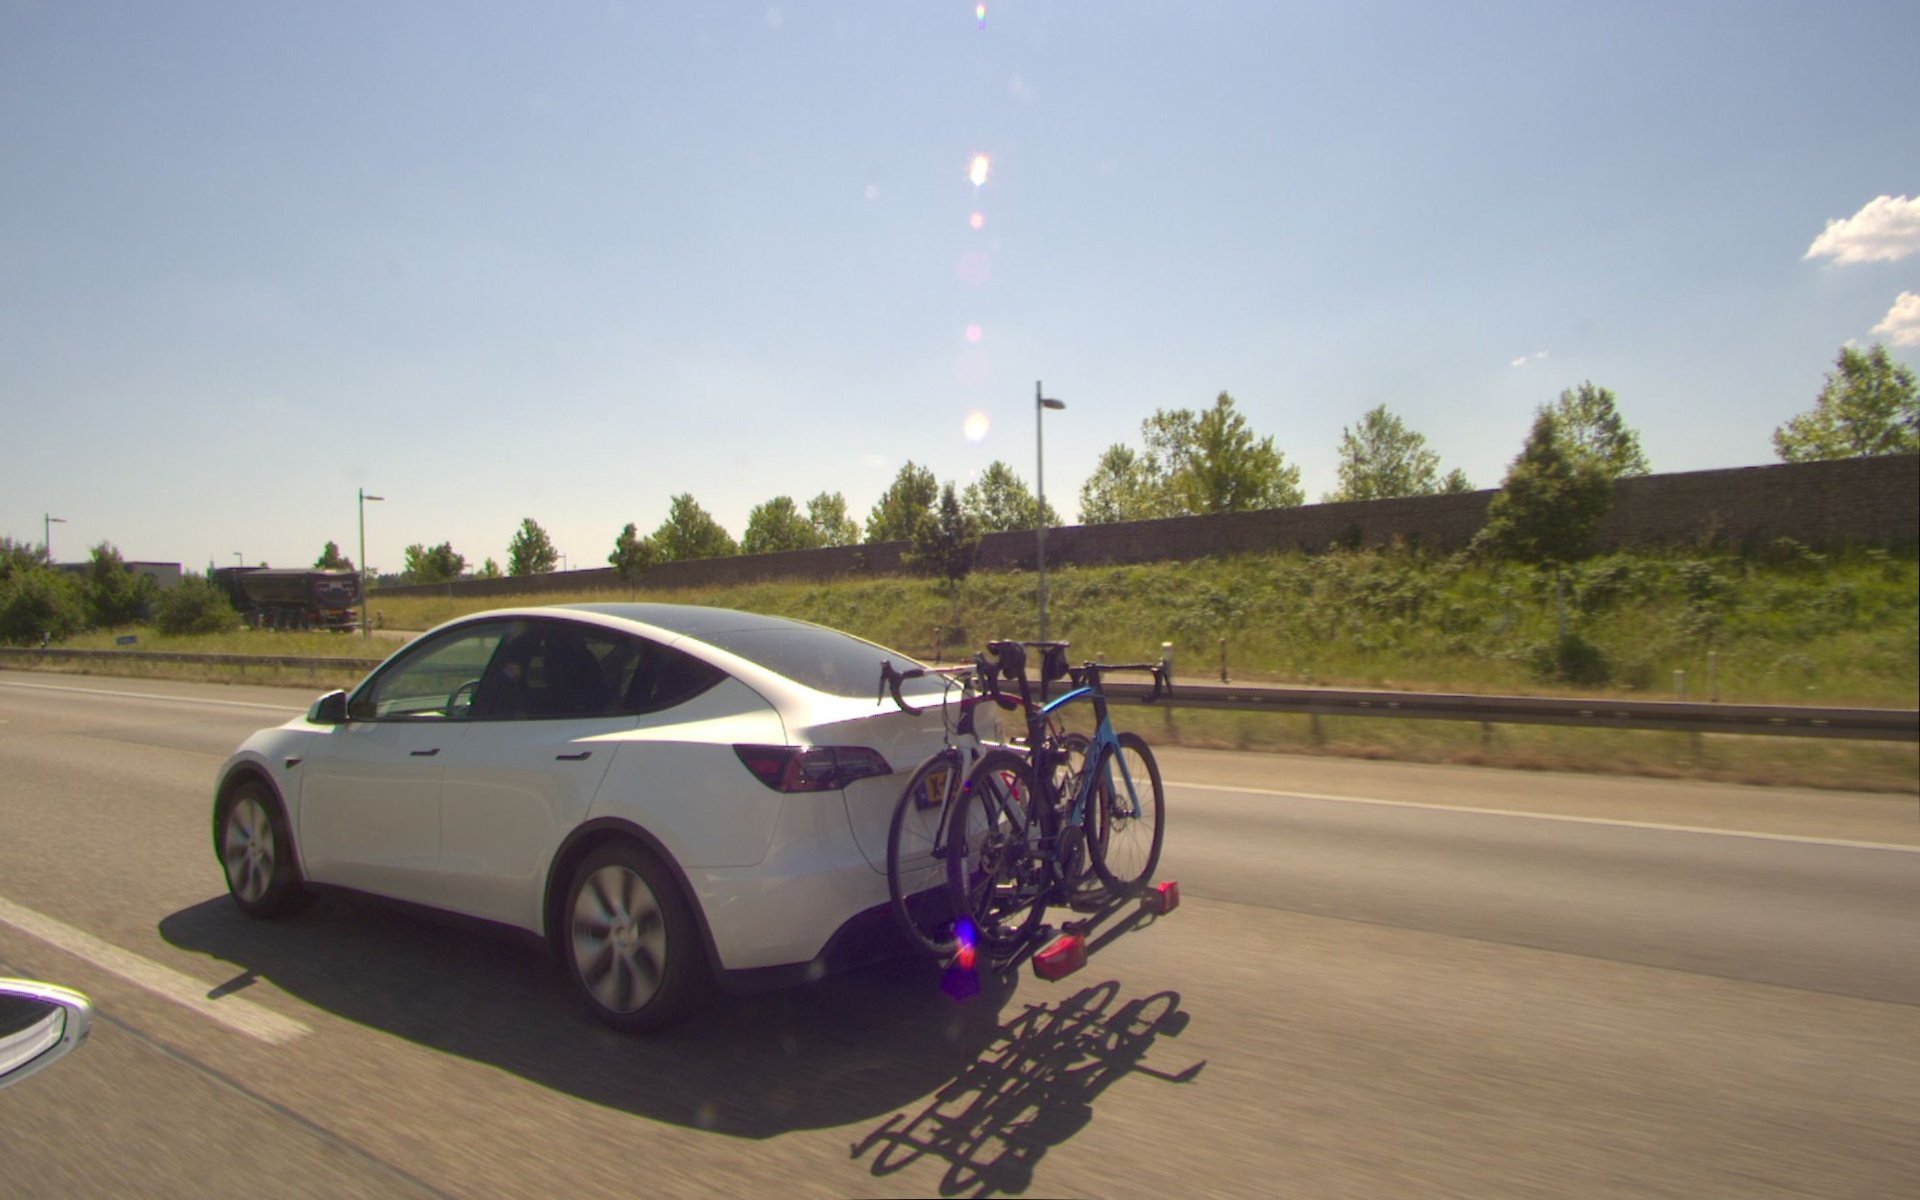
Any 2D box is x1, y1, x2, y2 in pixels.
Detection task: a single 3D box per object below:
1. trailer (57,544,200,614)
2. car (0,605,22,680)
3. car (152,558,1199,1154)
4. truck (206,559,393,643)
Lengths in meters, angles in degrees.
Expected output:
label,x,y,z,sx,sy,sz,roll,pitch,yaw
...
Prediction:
label,x,y,z,sx,sy,sz,roll,pitch,yaw
trailer,-56.076,-1.241,67.319,14.051,4.135,3.048,-1,-2,32
car,-25.733,1.084,25.263,4.117,1.862,1.947,-1,0,31
car,-1.778,0.777,5.097,5.520,1.657,1.947,-1,-2,32
truck,-36.031,0.209,54.388,12.340,4.135,3.782,-1,-2,32
